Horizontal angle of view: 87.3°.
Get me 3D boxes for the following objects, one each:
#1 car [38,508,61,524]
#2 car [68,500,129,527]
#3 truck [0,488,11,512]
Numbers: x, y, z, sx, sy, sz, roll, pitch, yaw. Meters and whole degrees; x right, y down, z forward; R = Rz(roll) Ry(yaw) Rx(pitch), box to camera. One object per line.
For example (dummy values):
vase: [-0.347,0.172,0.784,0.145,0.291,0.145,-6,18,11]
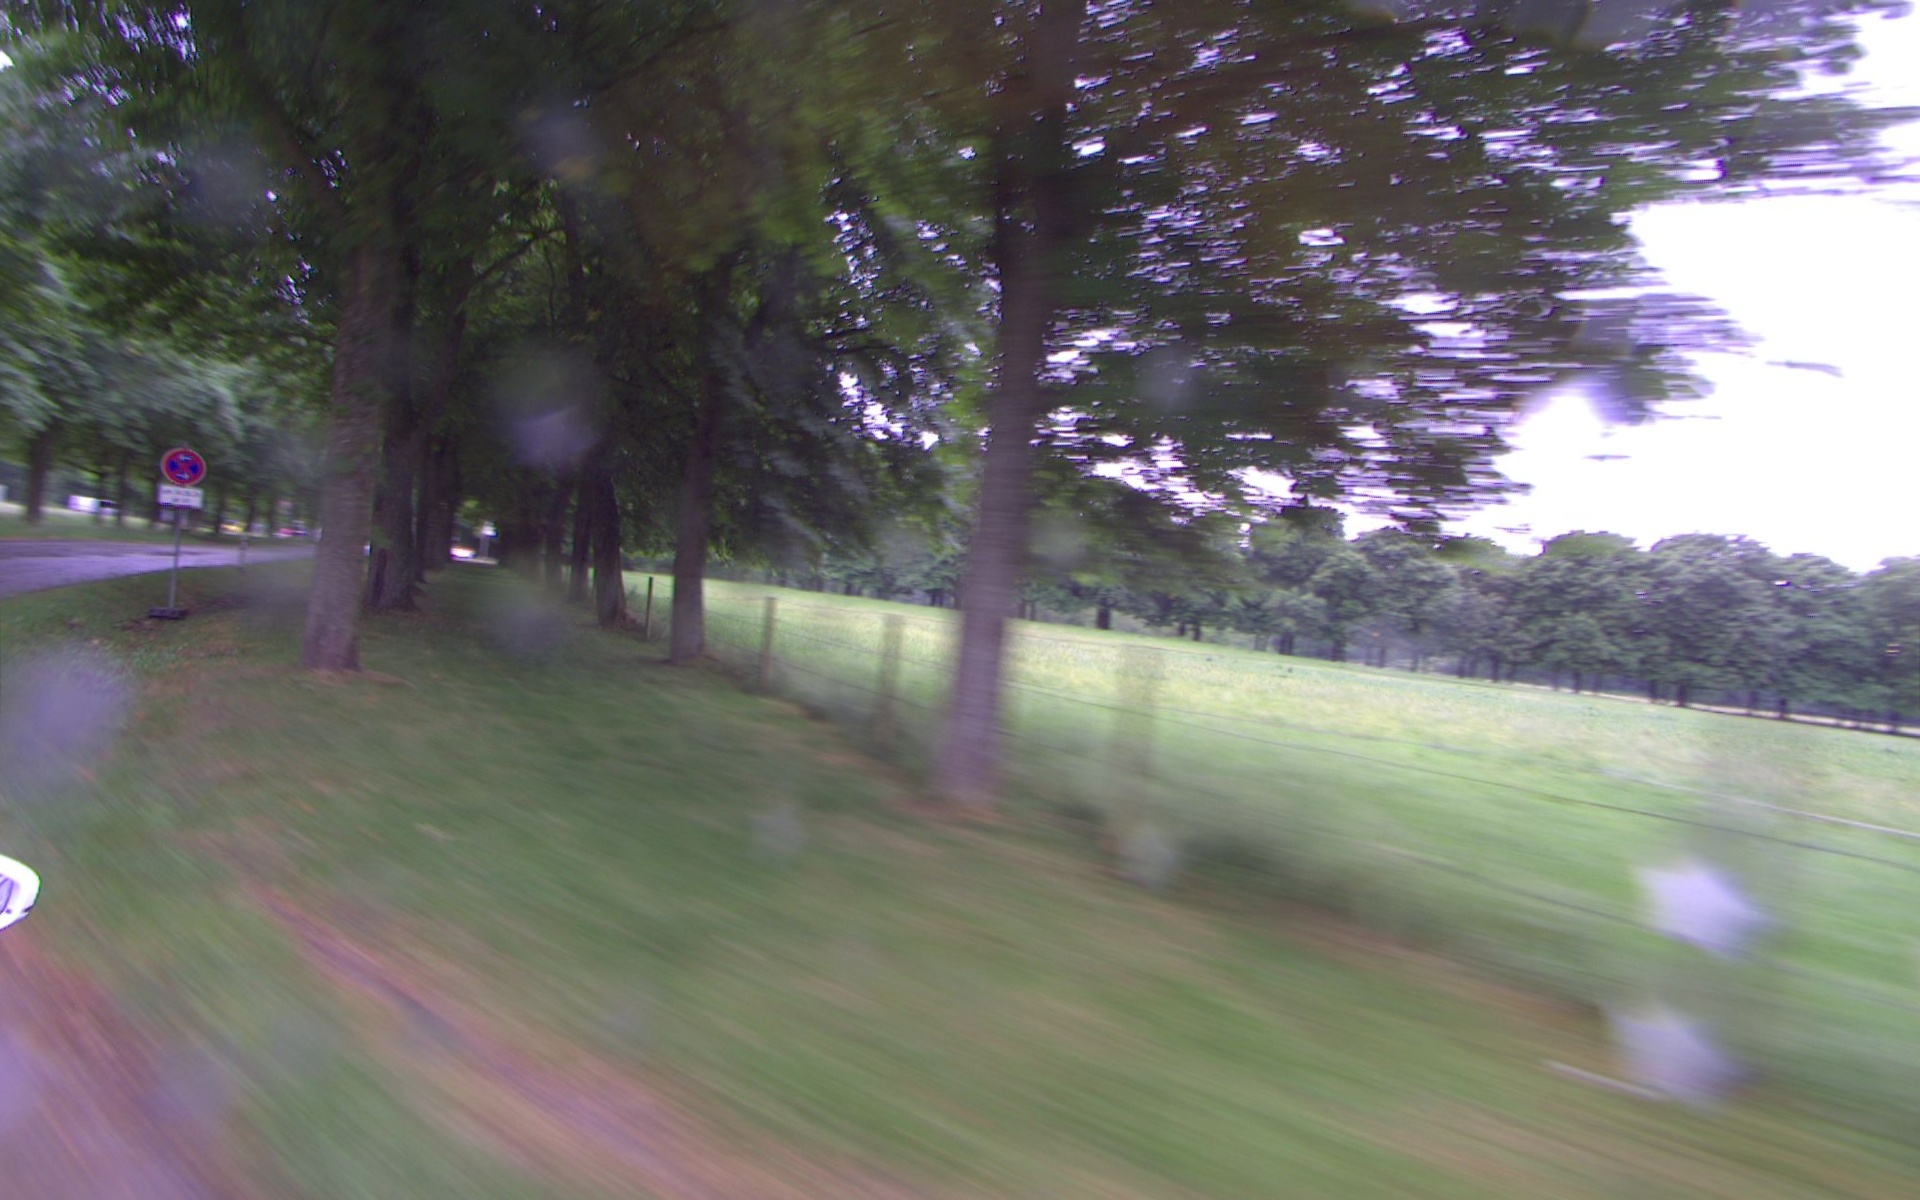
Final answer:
car: [-102.287,-9.451,112.969,1.757,1.446,4.057,7,-1,-44]
car: [-100.678,-10.140,117.575,5.870,2.435,2.395,5,-2,16]
truck: [-104.668,-10.935,109.257,1.861,2.473,3.312,6,0,-40]
